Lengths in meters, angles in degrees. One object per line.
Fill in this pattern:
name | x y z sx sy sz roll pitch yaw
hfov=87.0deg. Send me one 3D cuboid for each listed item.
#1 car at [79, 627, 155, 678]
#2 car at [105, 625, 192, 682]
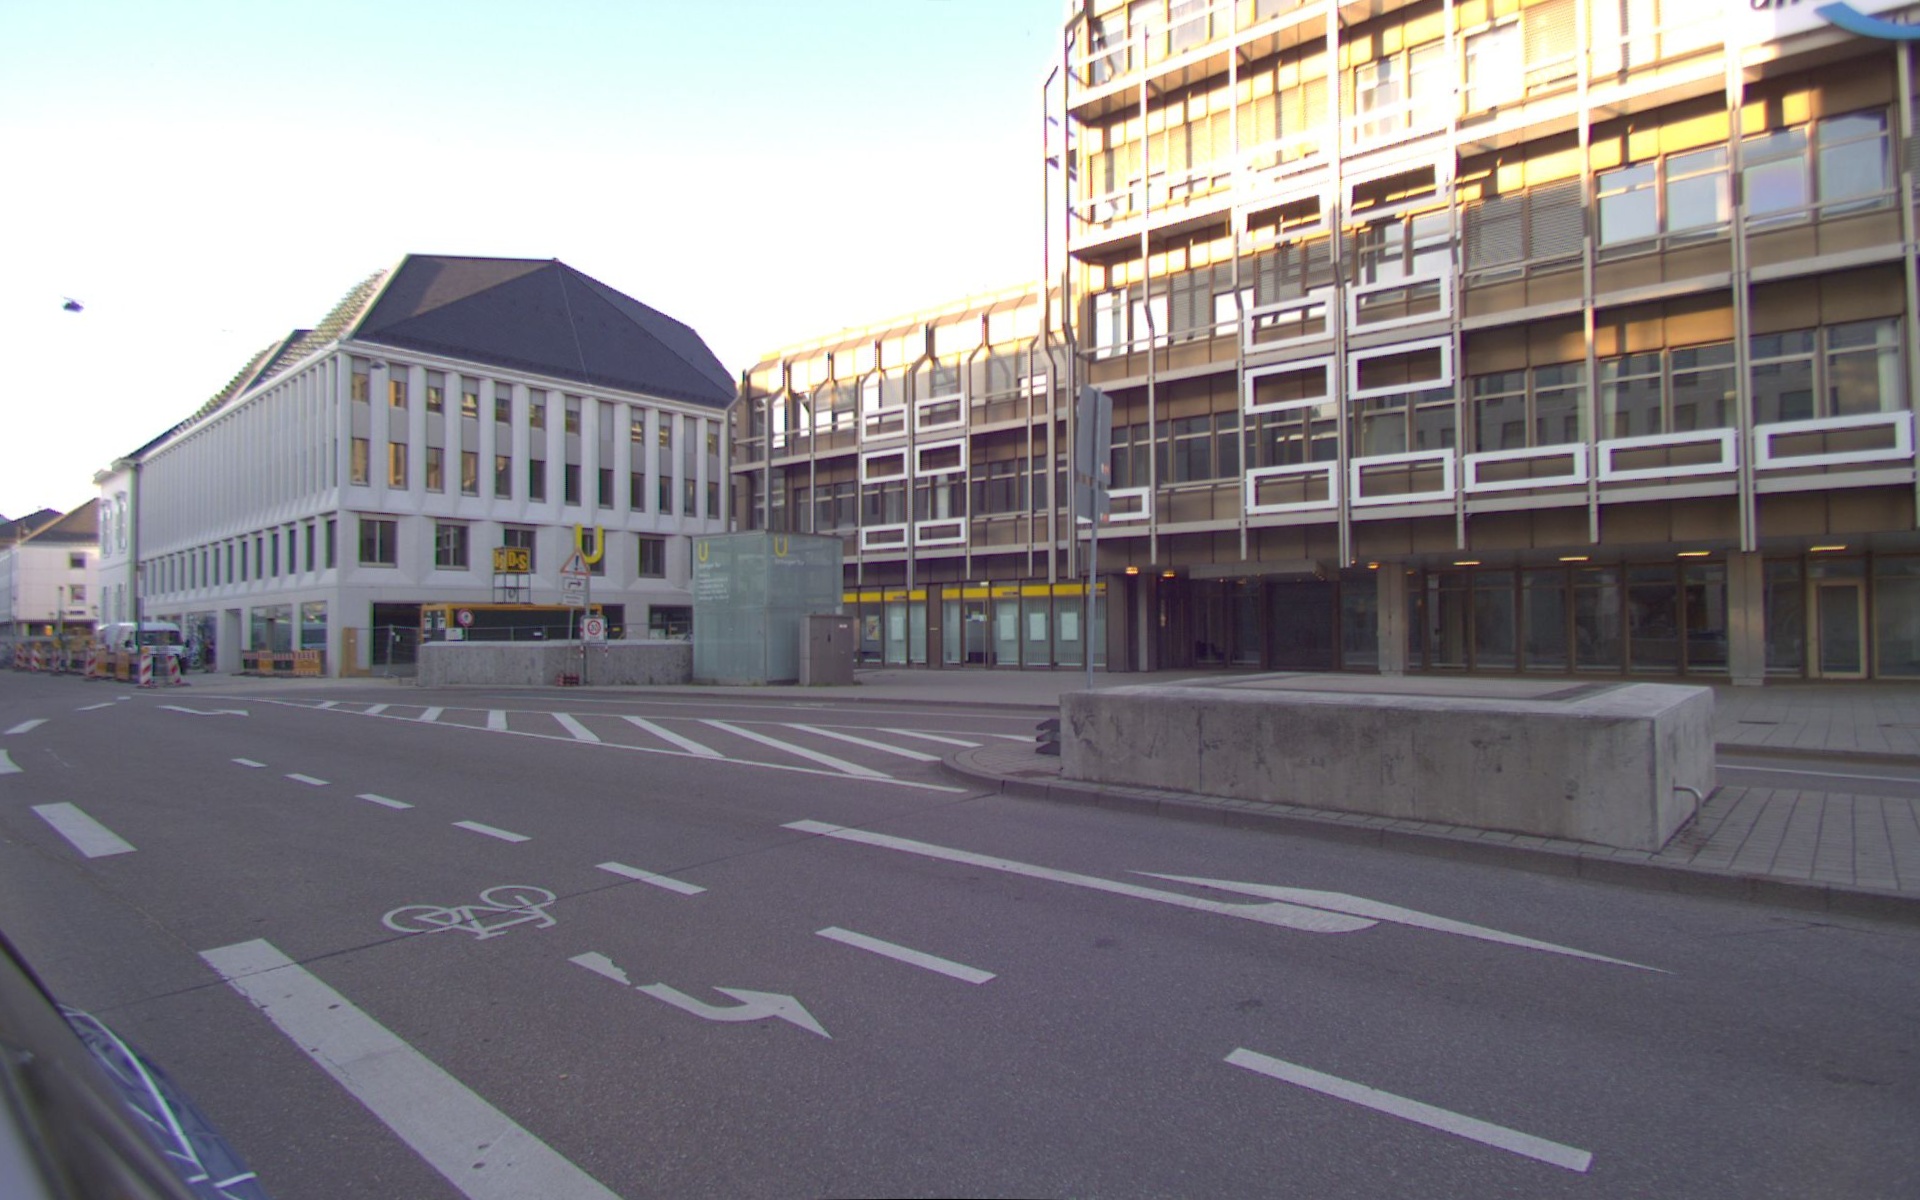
car | -43.725 2.709 52.436 5.996 2.489 2.150 -2 -3 42
car | -38.150 2.477 47.499 5.996 2.489 2.151 -2 -3 41
